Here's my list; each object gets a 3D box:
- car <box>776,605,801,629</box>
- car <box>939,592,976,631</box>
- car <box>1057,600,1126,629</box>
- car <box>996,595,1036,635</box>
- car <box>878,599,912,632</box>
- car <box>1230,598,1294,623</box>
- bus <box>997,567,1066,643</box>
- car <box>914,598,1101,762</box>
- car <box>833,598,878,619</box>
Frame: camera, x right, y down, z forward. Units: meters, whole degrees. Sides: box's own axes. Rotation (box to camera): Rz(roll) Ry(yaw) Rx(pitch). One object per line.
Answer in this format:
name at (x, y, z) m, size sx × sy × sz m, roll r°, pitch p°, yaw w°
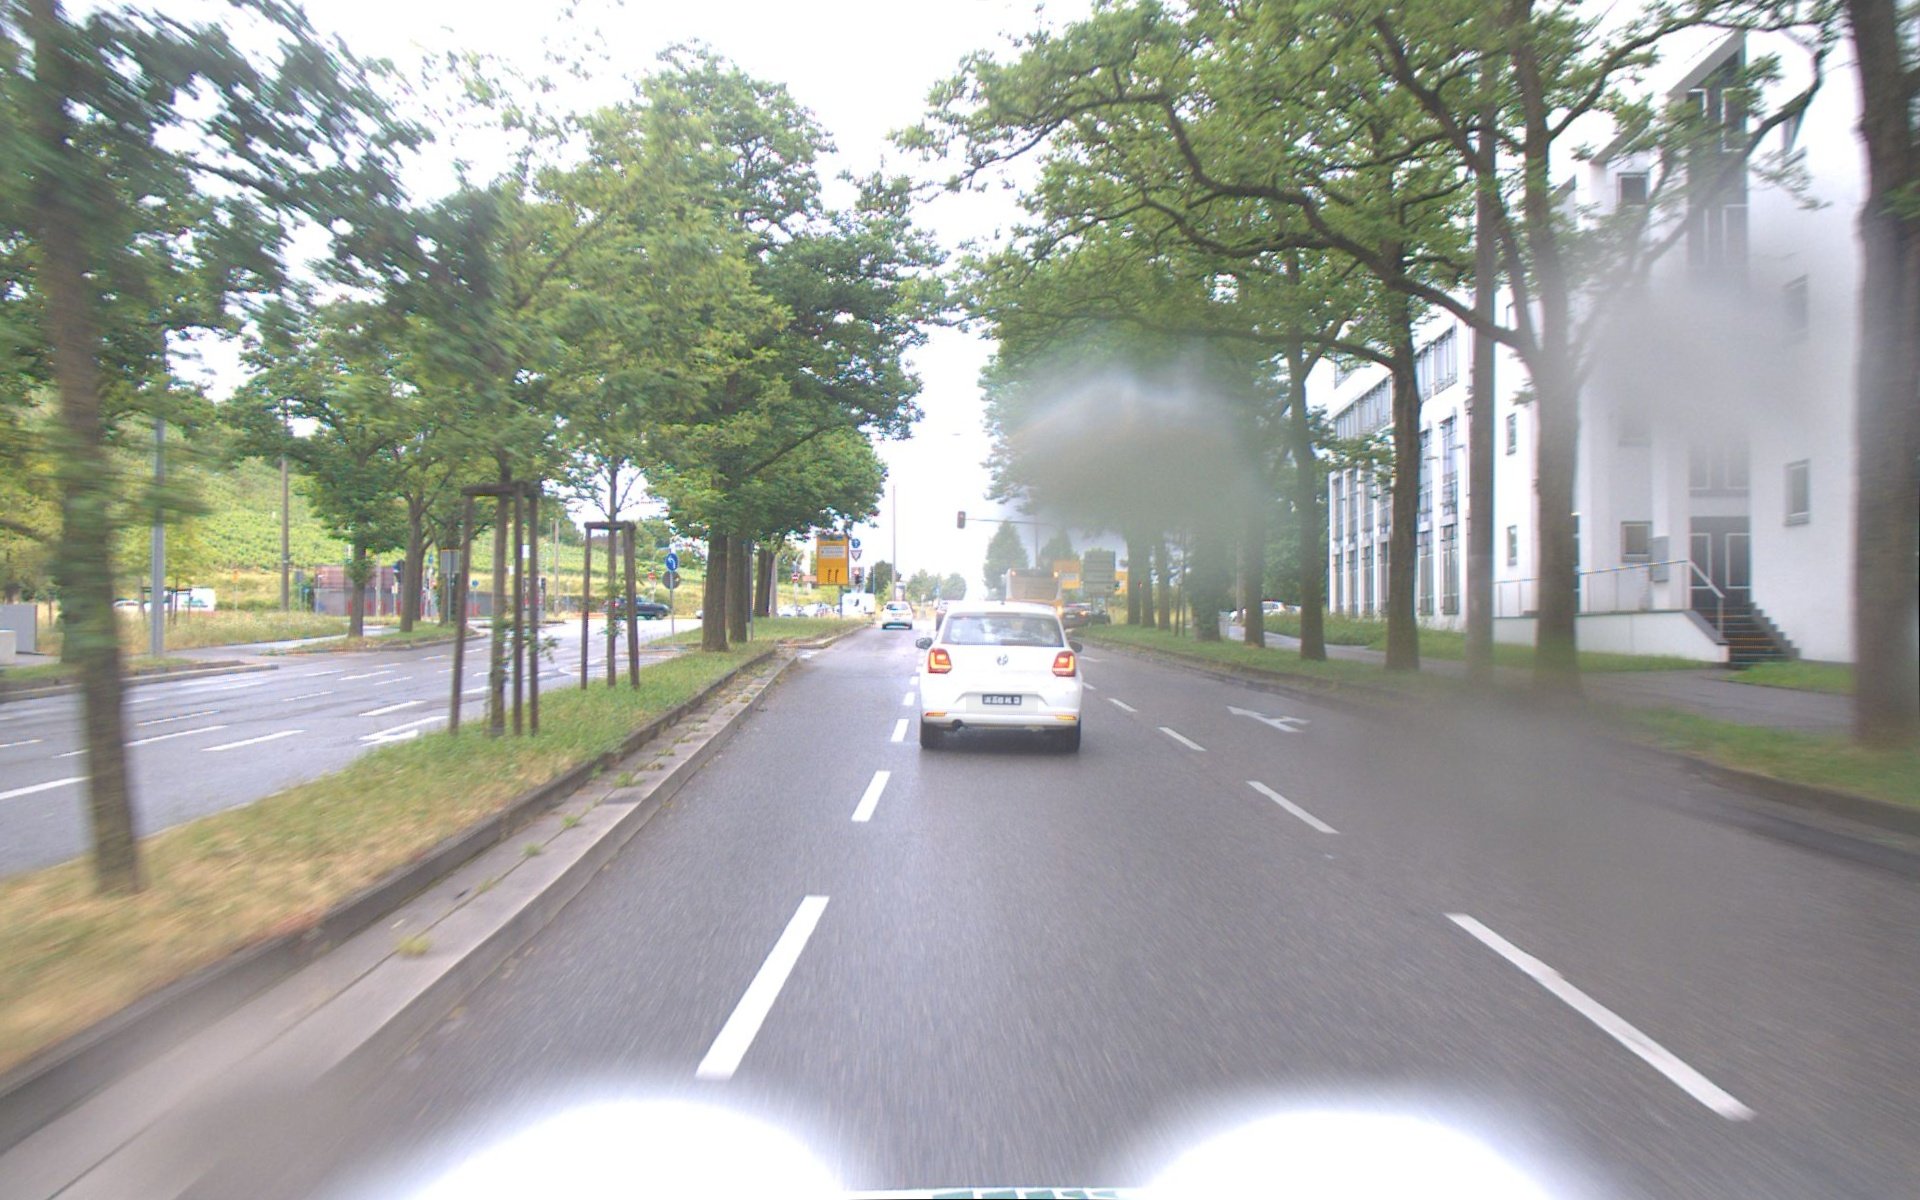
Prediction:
car at (-15.080, 1.528, 145.687) m, size 1.954 × 2.049 × 3.997 m, roll 0°, pitch -2°, yaw -4°
car at (-0.132, 0.645, 89.666) m, size 1.953 × 2.049 × 3.999 m, roll -1°, pitch -1°, yaw 0°
car at (7.098, 0.793, 89.079) m, size 1.672 × 1.542 × 3.800 m, roll -2°, pitch -2°, yaw 45°
car at (2.884, 0.804, 85.954) m, size 1.953 × 2.049 × 3.999 m, roll -1°, pitch -1°, yaw 0°
car at (-3.599, 0.845, 91.402) m, size 1.758 × 1.772 × 3.999 m, roll -1°, pitch -1°, yaw -1°
car at (20.271, 0.714, 110.884) m, size 3.904 × 1.563 × 2.000 m, roll -1°, pitch 0°, yaw 21°
bus at (3.243, 0.226, 77.277) m, size 2.770 × 3.324 × 9.999 m, roll 0°, pitch 0°, yaw 0°
car at (0.404, 0.767, 17.858) m, size 1.758 × 1.528 × 3.999 m, roll 1°, pitch 0°, yaw -2°
car at (-10.693, 0.894, 169.467) m, size 1.955 × 2.049 × 5.704 m, roll -1°, pitch 0°, yaw 27°
